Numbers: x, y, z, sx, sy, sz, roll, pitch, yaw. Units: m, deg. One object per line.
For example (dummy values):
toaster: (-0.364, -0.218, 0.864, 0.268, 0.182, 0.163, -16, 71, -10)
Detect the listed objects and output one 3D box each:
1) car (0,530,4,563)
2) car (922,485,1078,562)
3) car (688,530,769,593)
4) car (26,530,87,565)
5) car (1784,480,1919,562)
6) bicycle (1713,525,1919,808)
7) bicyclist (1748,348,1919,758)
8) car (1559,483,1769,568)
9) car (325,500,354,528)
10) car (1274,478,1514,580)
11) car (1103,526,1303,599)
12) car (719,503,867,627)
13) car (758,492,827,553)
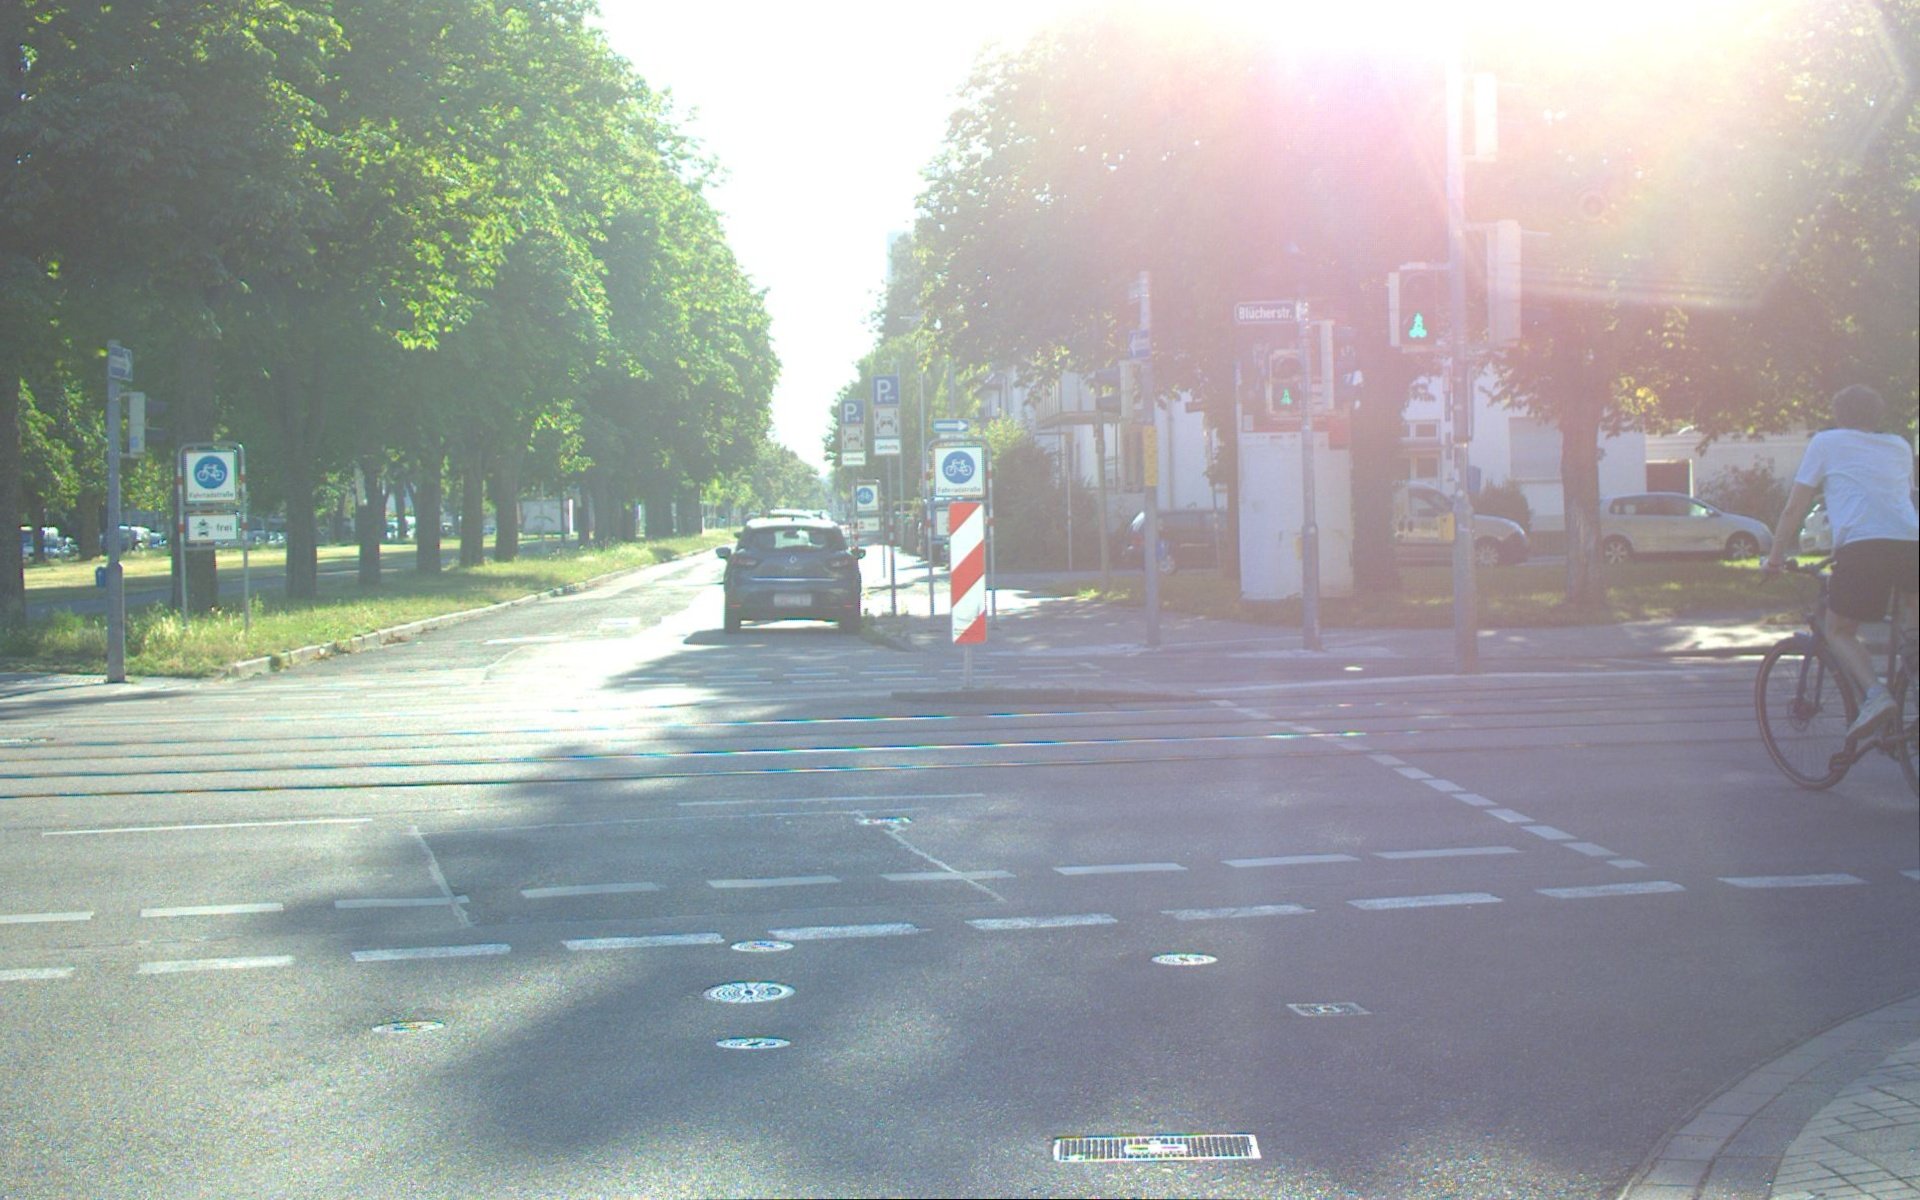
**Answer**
car: (-49.637, -2.704, 172.710, 1.993, 1.653, 4.355, 1, 1, -1)
car: (1.077, -2.079, 93.485, 3.986, 1.816, 1.760, -2, -4, -6)
car: (-5.239, -0.871, 78.151, 1.709, 1.355, 4.203, 1, 1, -2)
car: (-44.002, -2.568, 167.529, 2.022, 1.653, 3.984, 1, 1, -2)
car: (17.961, -1.513, 65.860, 3.920, 1.518, 1.524, 0, 0, -7)
bicycle: (4.067, 0.266, 15.145, 0.572, 1.180, 1.906, 1, 1, -18)
bicyclist: (4.057, -0.200, 15.054, 0.814, 1.726, 0.894, 1, 0, -18)
car: (13.334, -1.412, 65.217, 3.552, 1.510, 1.606, -1, 1, -8)
car: (-45.765, -6.358, 253.693, 1.654, 1.932, 3.568, 1, -1, -3)
car: (8.228, -1.336, 65.490, 4.241, 1.868, 2.031, -1, 1, -2)
car: (5.062, -0.780, 72.055, 3.986, 1.442, 1.716, -1, 0, -2)
car: (-2.118, -0.448, 44.603, 1.725, 1.506, 4.541, 1, 1, -1)
car: (-5.062, -2.361, 103.693, 1.993, 1.775, 4.001, 1, 2, -3)
